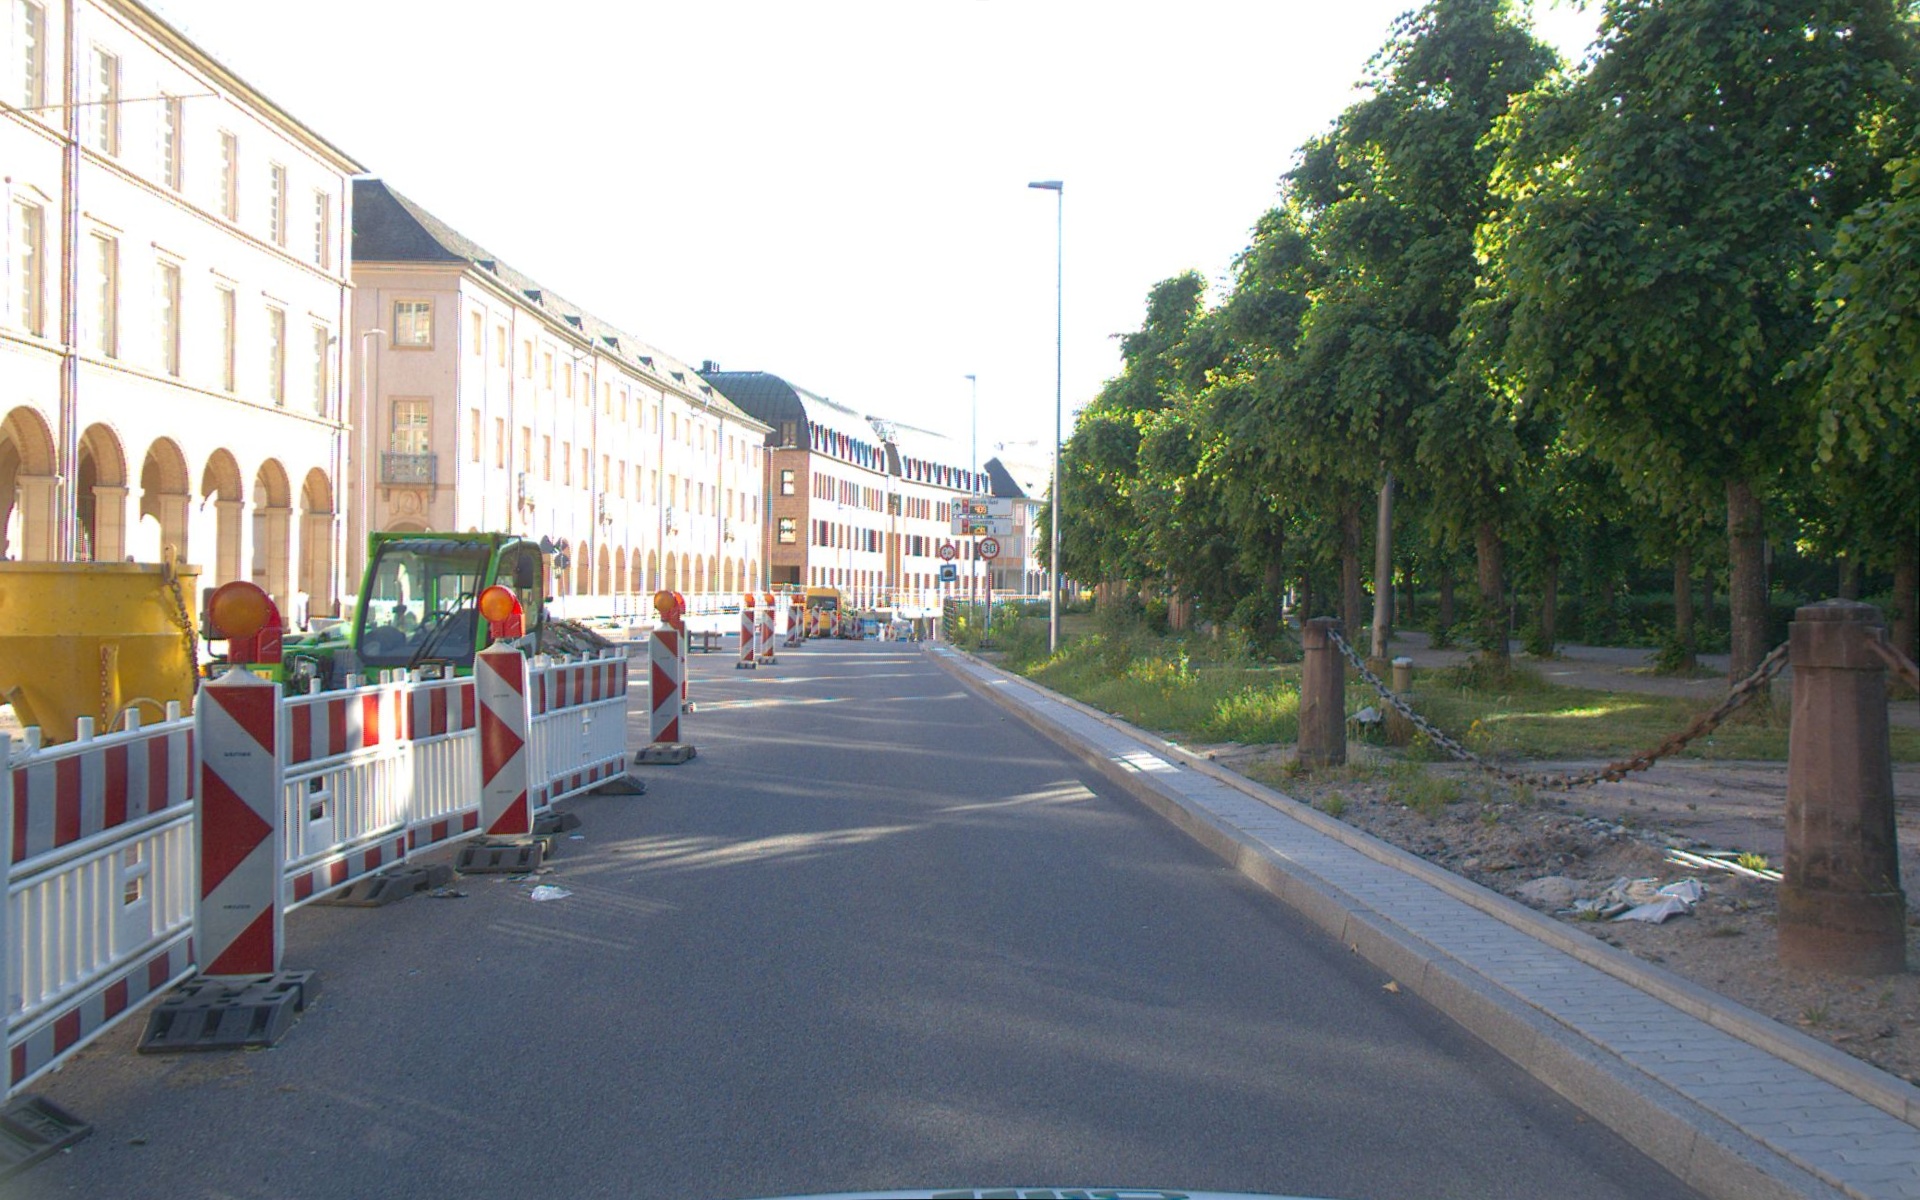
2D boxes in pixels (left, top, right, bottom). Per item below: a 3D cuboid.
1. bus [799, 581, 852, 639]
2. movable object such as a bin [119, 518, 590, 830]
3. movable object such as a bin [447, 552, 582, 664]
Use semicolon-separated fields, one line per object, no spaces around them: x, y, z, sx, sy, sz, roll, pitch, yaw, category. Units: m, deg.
-6.721;0.530;83.198;2.029;2.734;4.684;1;-2;3;bus
-4.385;0.429;12.812;2.008;1.983;4.335;1;1;0;movable object such as a bin
-10.667;0.127;39.958;2.032;2.518;4.616;1;1;-1;movable object such as a bin
